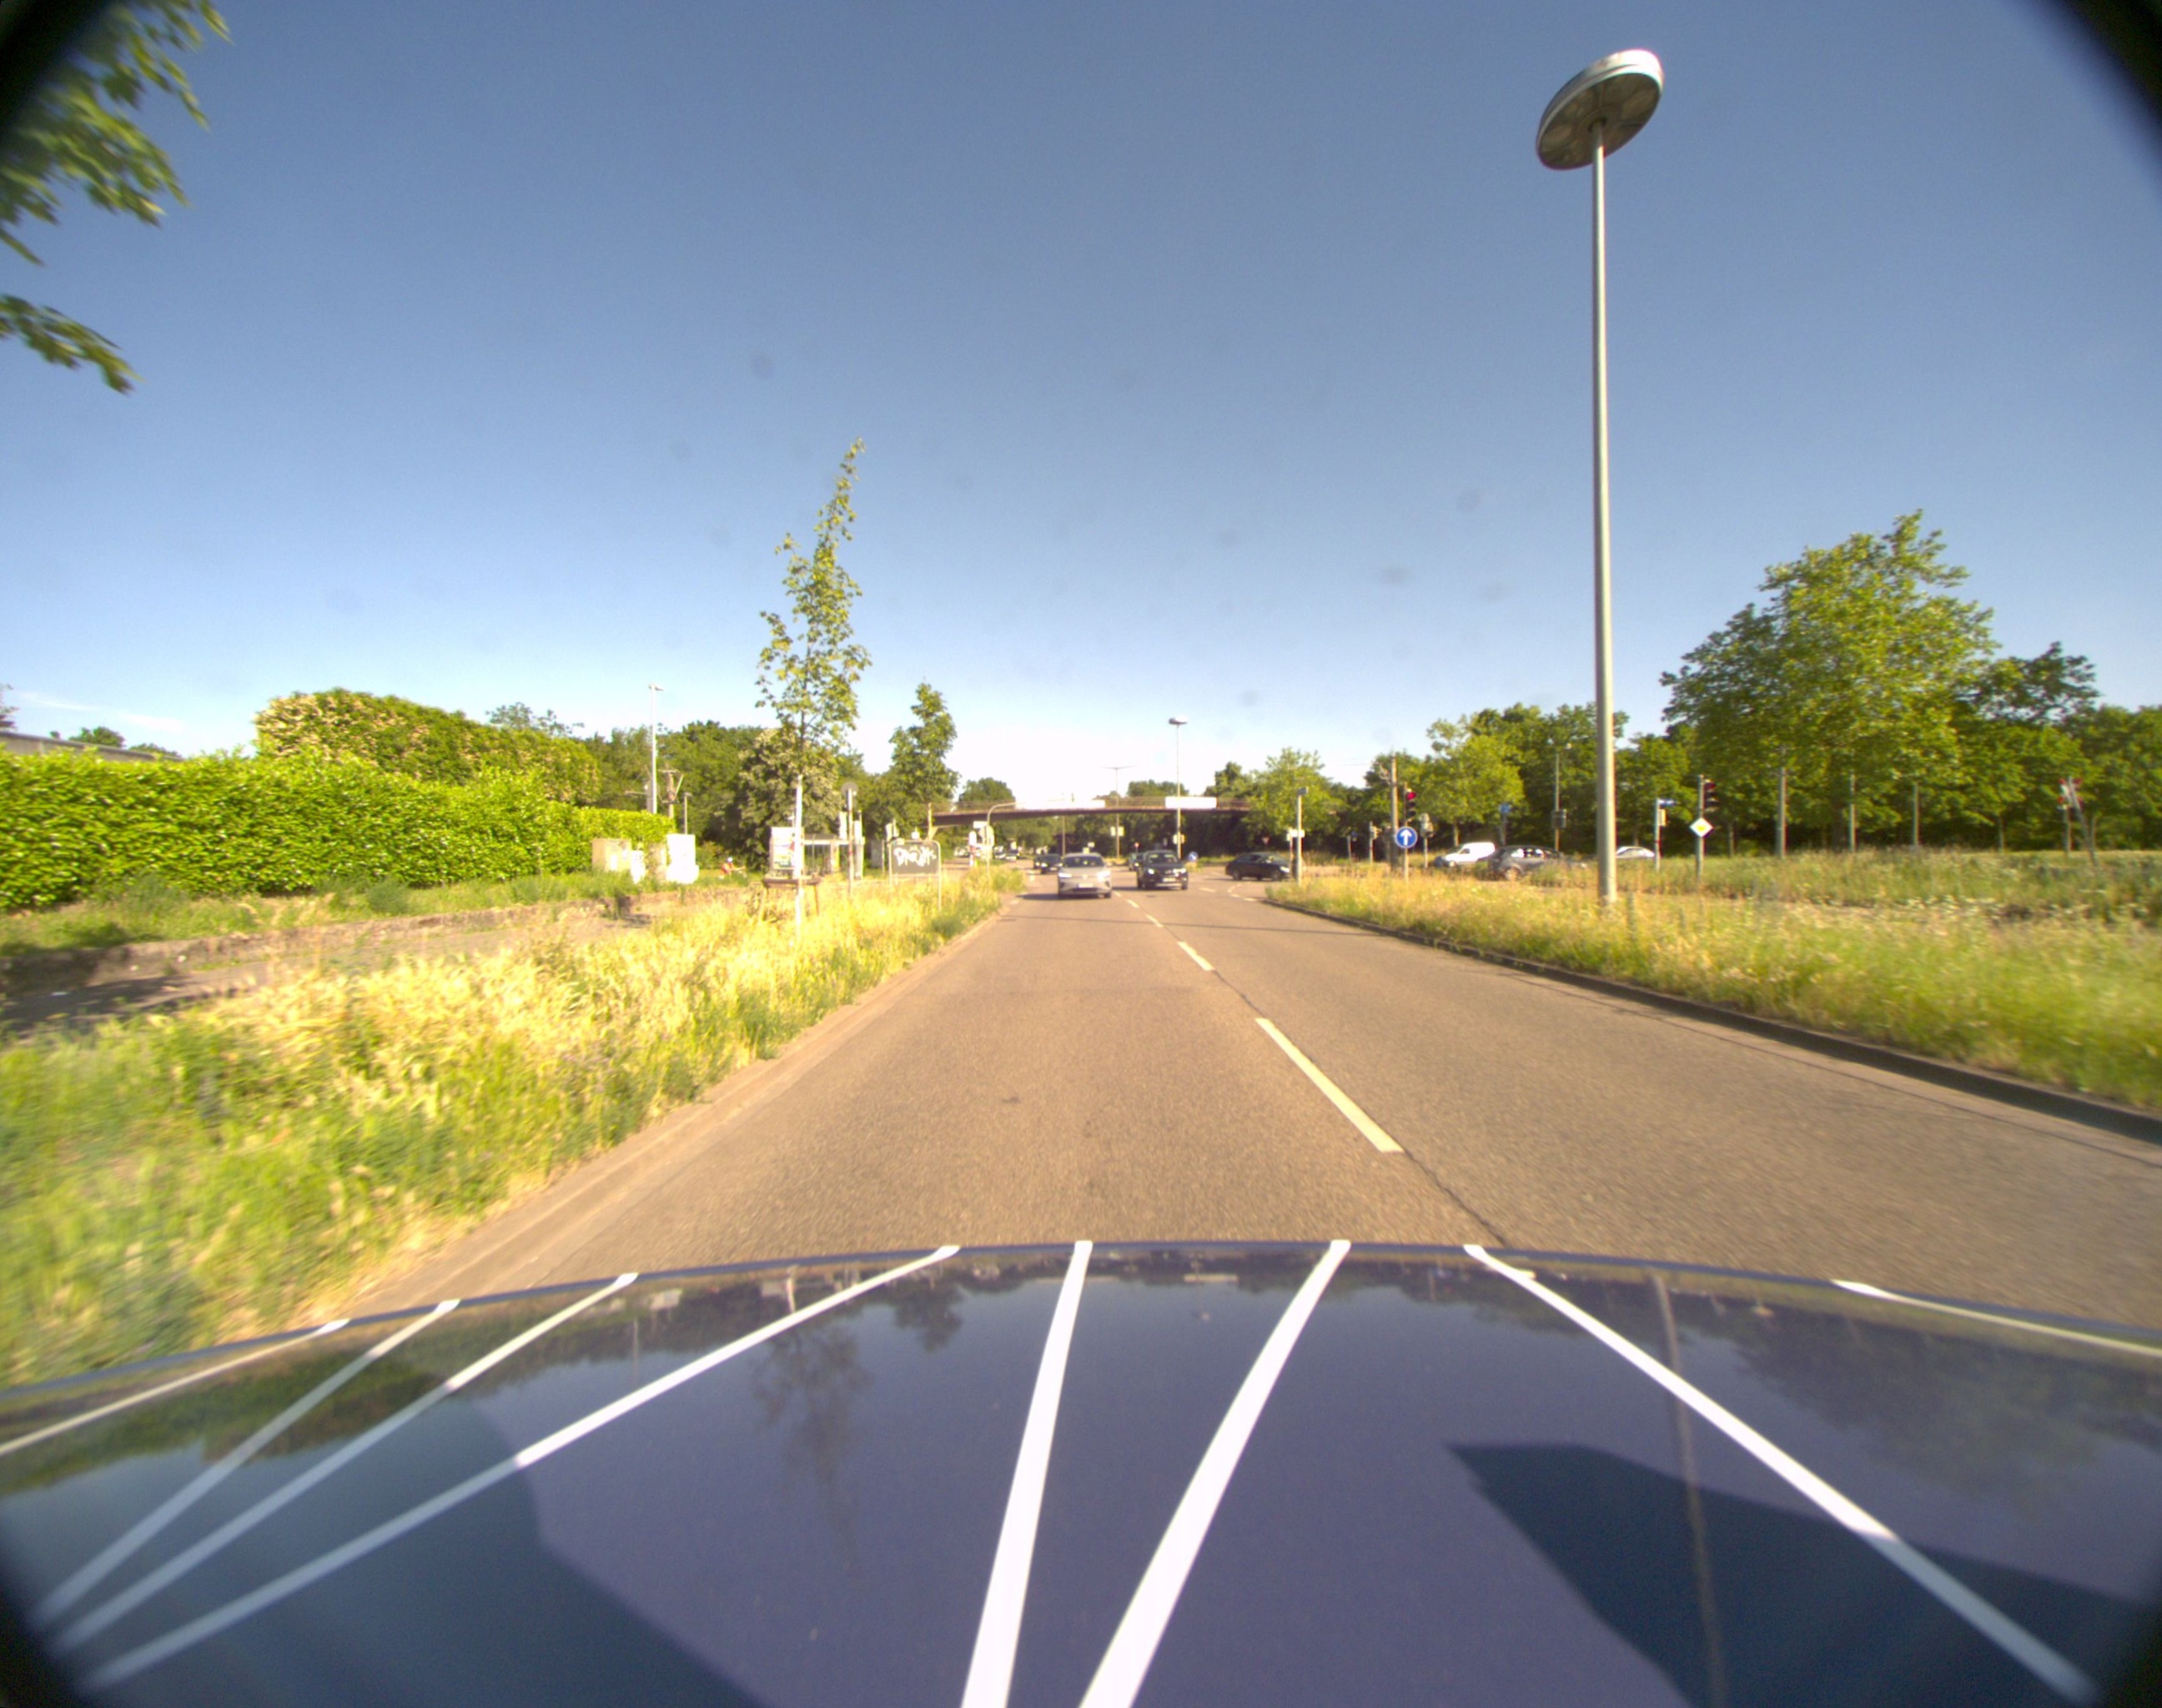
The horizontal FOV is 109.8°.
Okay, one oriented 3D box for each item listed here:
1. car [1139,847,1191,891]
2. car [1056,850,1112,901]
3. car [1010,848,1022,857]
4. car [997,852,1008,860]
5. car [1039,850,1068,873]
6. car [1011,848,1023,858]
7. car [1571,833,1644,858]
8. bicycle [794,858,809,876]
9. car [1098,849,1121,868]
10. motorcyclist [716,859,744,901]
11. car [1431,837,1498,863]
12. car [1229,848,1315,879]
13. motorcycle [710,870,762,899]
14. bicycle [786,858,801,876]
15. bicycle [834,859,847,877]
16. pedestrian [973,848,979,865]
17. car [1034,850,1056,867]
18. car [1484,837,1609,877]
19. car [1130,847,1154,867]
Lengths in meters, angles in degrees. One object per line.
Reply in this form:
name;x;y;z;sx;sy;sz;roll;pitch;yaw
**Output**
car;3.495;0.582;32.244;1.714;1.653;3.855;-2;1;0
car;0.198;0.704;27.765;1.801;1.664;4.240;-2;0;3
car;-11.557;-0.288;134.994;1.874;1.611;3.833;-2;1;-7
car;-15.679;0.400;151.616;1.875;1.611;3.832;-2;1;-10
car;-2.163;0.544;59.068;1.874;1.611;3.833;-2;1;-7
car;-13.587;-0.189;161.132;2.000;2.002;3.996;-2;1;-10
car;36.549;-0.586;52.805;3.925;1.551;1.851;-2;1;-7
bicycle;-19.113;0.883;51.977;0.431;1.062;1.783;1;5;-3
car;2.459;0.360;66.203;1.830;1.604;4.092;-1;1;1
motorcyclist;-13.169;0.954;28.543;0.695;1.549;0.700;0;1;1
car;27.800;-0.275;55.074;3.999;1.744;1.776;-2;1;-7
car;9.892;0.453;39.745;1.782;1.478;4.519;-2;1;-28
motorcycle;-12.935;1.127;28.496;1.760;1.065;0.451;0;1;0
bicycle;-19.677;0.861;51.957;0.431;1.062;1.783;1;5;-3
bicycle;-16.442;0.924;52.030;0.431;1.062;1.783;1;5;-3
pedestrian;-10.085;0.247;73.085;0.589;1.652;0.716;-1;1;-8
car;-3.751;0.420;77.999;1.874;1.611;3.833;-2;1;-7
car;20.552;0.128;33.780;4.378;1.561;1.850;-2;1;17
car;4.952;0.246;62.214;1.795;1.487;4.001;-2;1;2
